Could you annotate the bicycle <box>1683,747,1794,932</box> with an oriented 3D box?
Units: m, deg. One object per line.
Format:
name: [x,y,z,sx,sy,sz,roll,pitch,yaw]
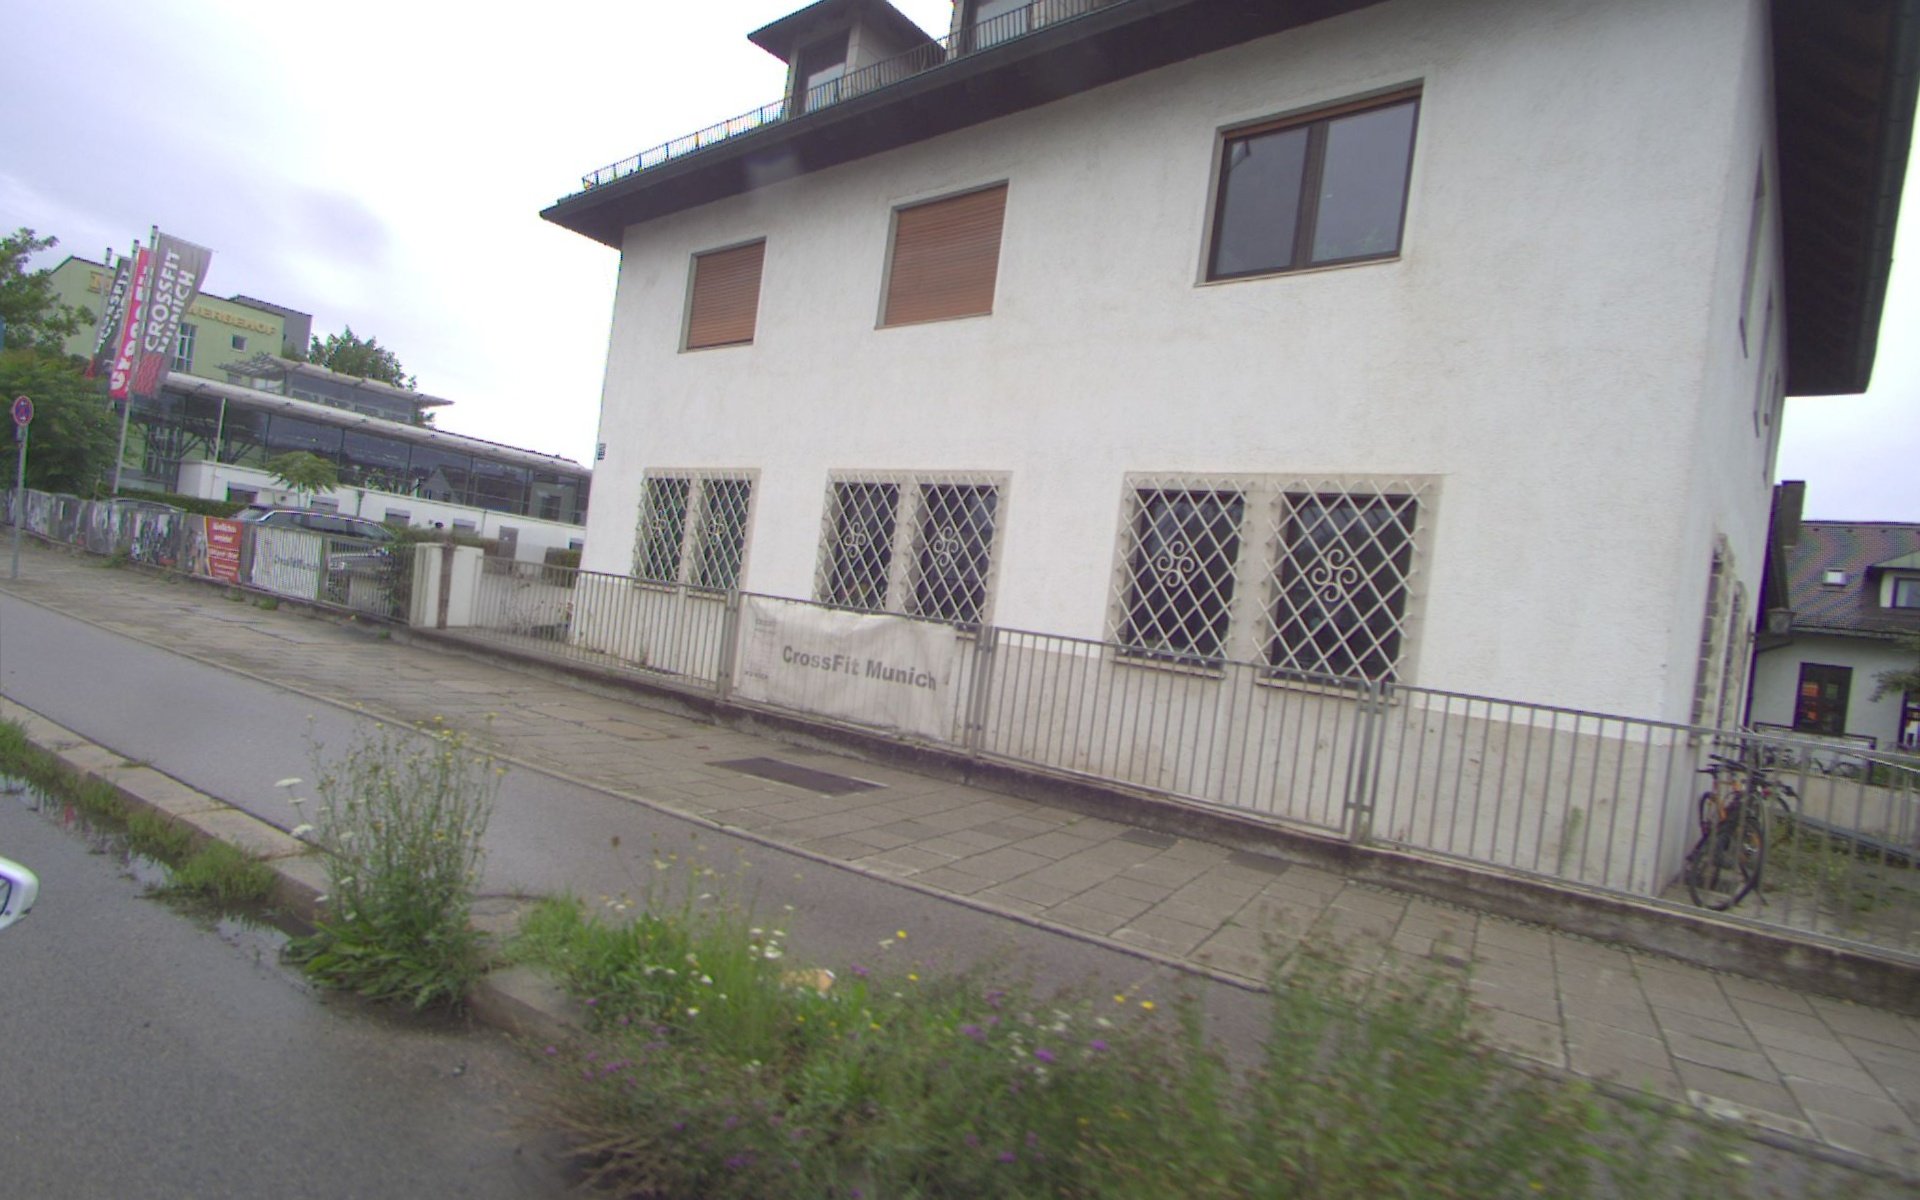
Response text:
bicycle: [5.620,1.654,7.287,0.466,1.082,1.845,7,-1,38]

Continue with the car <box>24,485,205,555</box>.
car: [-26.298,-2.475,31.396,1.767,1.477,4.011,7,-1,40]

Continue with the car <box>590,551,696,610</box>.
car: [-13.286,-0.826,42.038,4.621,1.926,1.919,7,0,41]

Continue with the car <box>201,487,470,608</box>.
car: [-12.465,-1.006,20.305,1.898,1.746,4.096,7,-1,38]

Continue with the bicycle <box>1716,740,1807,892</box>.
bicycle: [7.007,1.829,8.842,0.466,1.125,1.845,7,-1,38]

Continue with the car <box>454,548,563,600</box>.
car: [-16.980,-1.002,37.735,4.554,1.403,1.919,7,-1,41]

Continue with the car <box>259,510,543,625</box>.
car: [-10.250,-0.547,18.693,1.898,1.467,4.096,7,-1,38]

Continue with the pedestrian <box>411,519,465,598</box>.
pedestrian: [-13.791,-1.096,26.575,0.917,1.924,0.733,7,0,36]

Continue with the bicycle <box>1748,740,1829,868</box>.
bicycle: [8.520,2.052,10.391,0.466,1.125,1.845,7,-1,38]
